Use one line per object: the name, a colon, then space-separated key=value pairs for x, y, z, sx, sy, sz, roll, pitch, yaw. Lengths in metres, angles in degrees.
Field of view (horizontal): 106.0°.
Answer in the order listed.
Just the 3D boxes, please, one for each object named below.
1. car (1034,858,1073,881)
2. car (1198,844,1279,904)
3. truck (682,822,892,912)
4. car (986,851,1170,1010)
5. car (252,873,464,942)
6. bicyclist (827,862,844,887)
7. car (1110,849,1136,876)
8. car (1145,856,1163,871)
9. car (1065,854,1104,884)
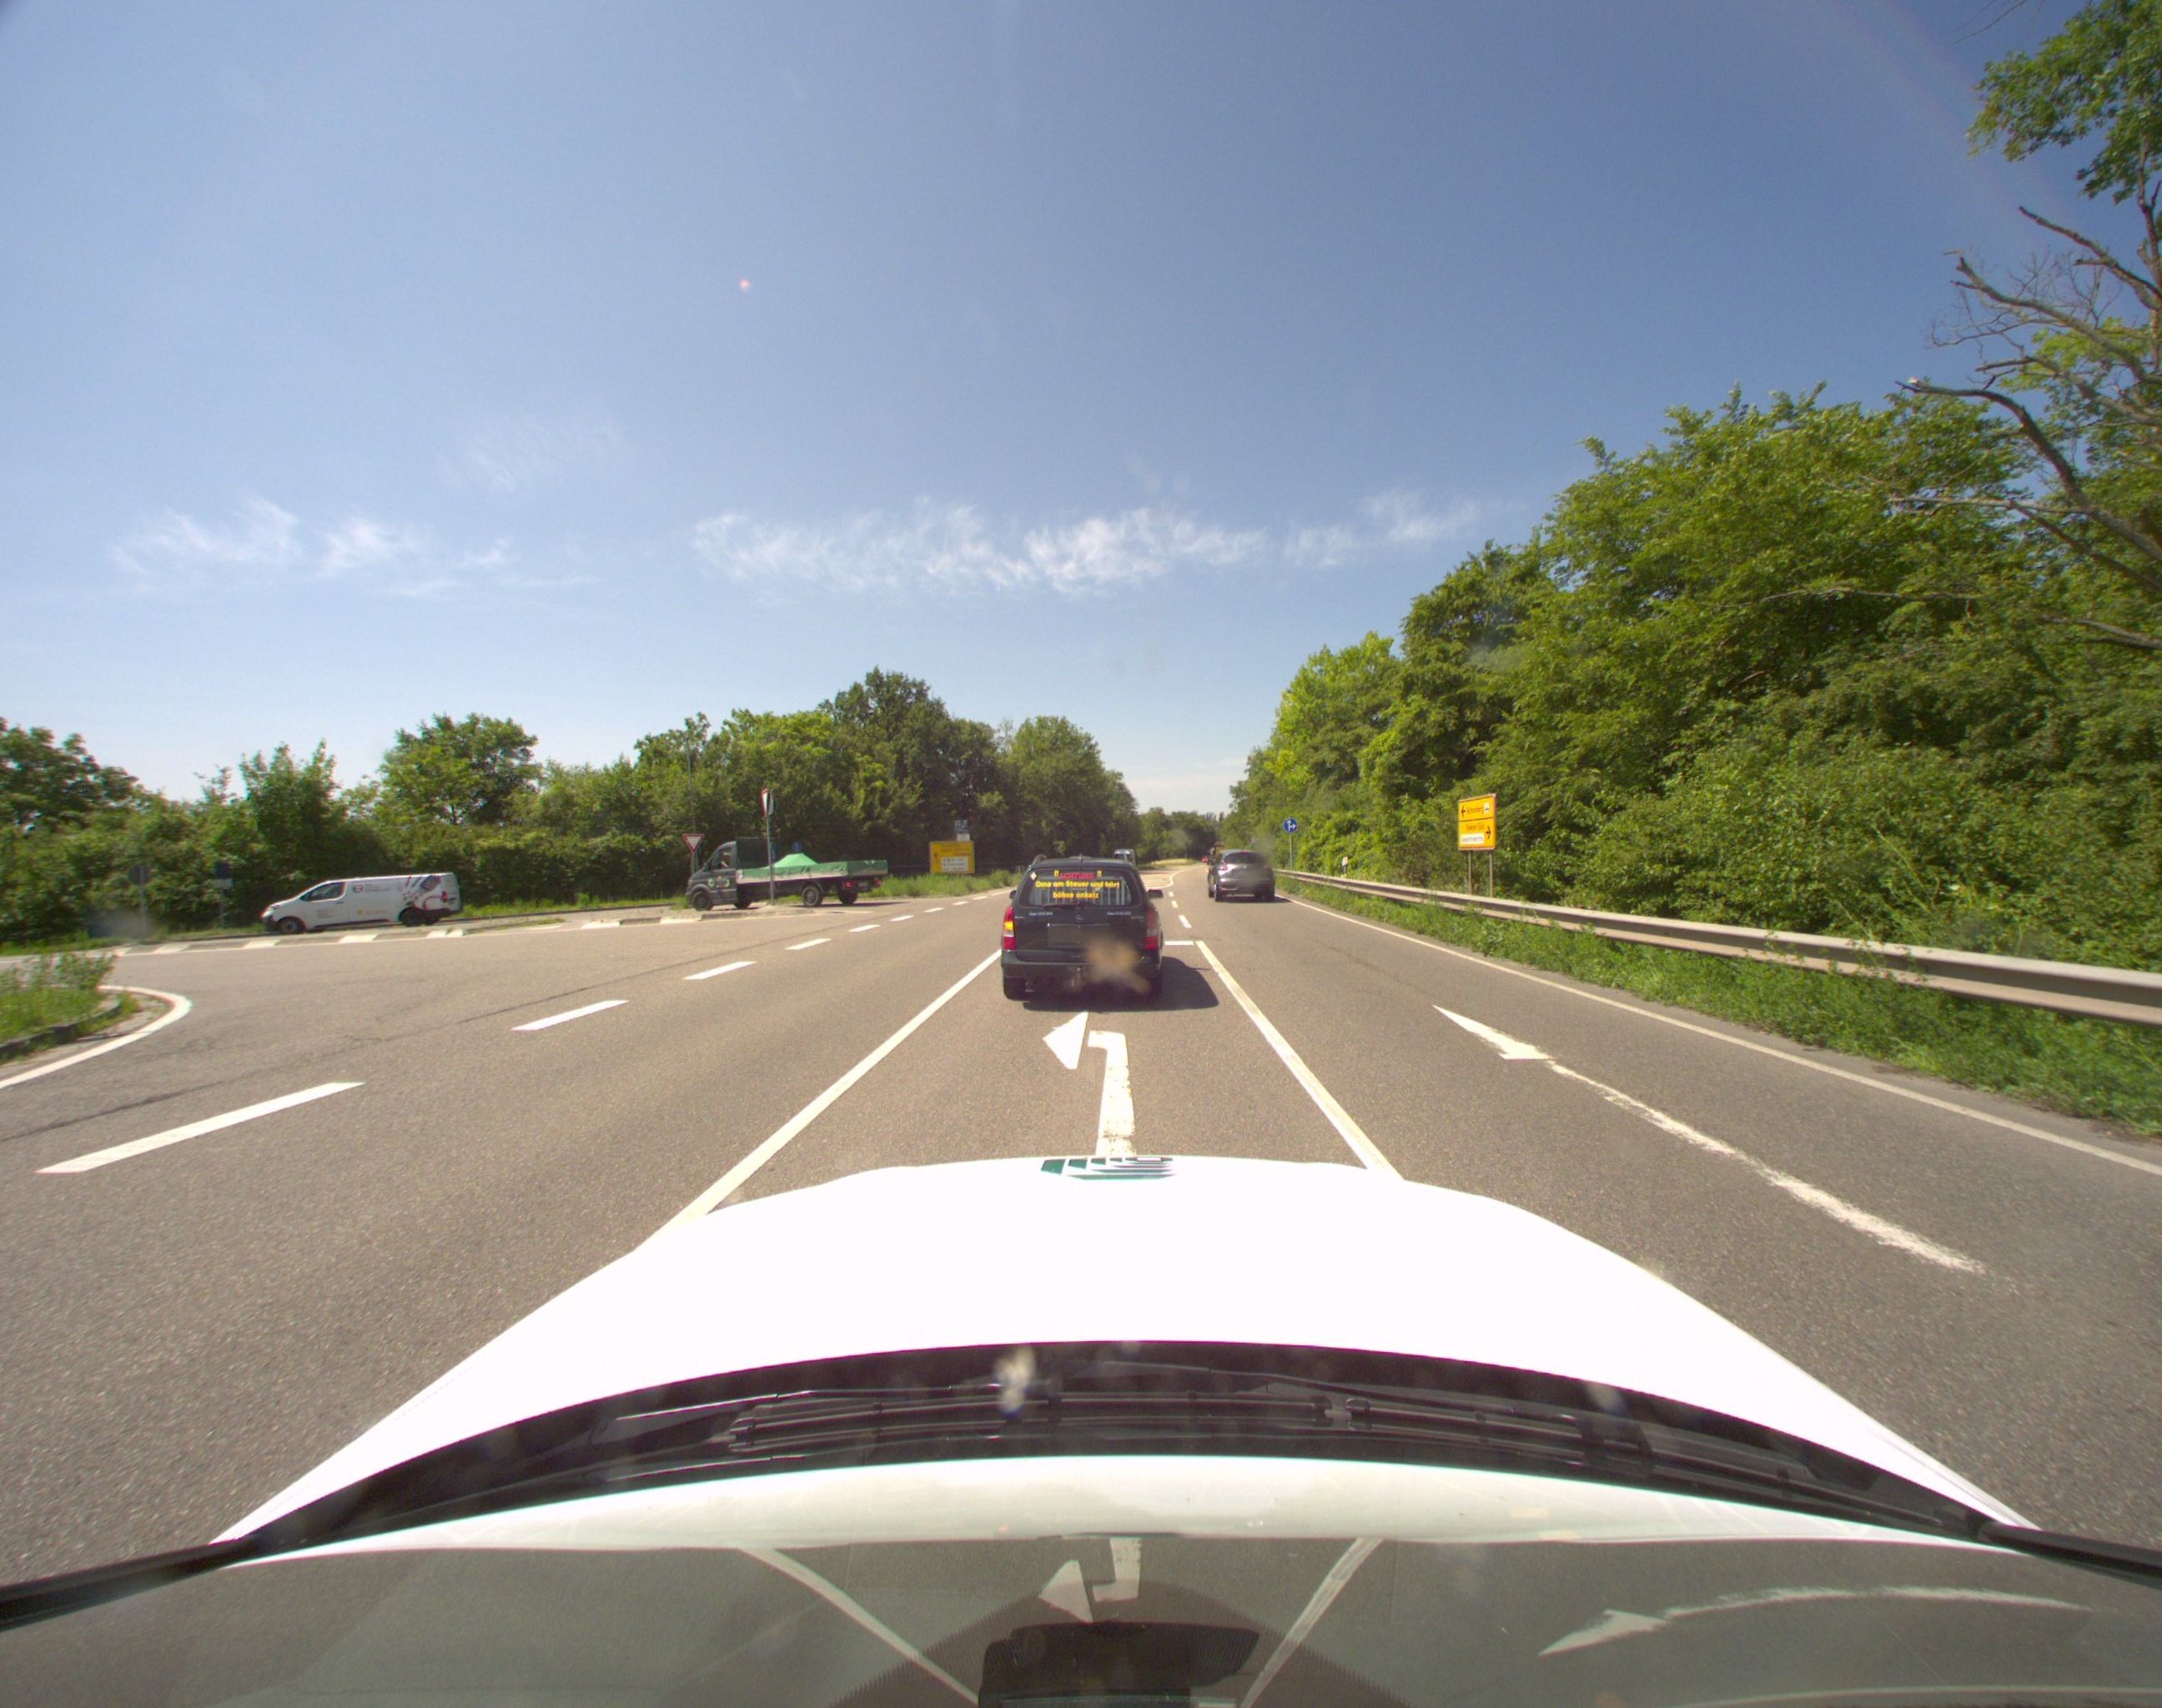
car: x=-2.111 y=1.169 z=62.891 sx=1.658 sy=1.662 sz=4.019 roll=-2 pitch=0 yaw=18
car: x=4.826 y=0.544 z=25.460 sx=1.836 sy=1.684 sz=4.002 roll=-1 pitch=0 yaw=1
truck: x=-9.676 y=0.471 z=26.743 sx=6.561 sy=2.565 sz=2.157 roll=-3 pitch=-1 yaw=20
car: x=0.058 y=0.716 z=9.597 sx=1.713 sy=1.456 sz=3.800 roll=-1 pitch=1 yaw=2
car: x=-25.575 y=1.812 z=29.103 sx=5.204 sy=1.923 sz=2.000 roll=-3 pitch=1 yaw=-26
bicyclist: x=-13.969 y=1.170 z=46.260 sx=0.681 sy=1.363 sz=0.613 roll=-1 pitch=0 yaw=36
car: x=4.554 y=0.891 z=87.278 sx=2.092 sy=2.850 sz=6.028 roll=-1 pitch=0 yaw=10
car: x=16.867 y=2.164 z=188.311 sx=2.003 sy=3.226 sz=4.769 roll=-1 pitch=0 yaw=-24
car: x=0.218 y=0.735 z=40.961 sx=1.636 sy=1.419 sz=3.771 roll=-1 pitch=0 yaw=5
